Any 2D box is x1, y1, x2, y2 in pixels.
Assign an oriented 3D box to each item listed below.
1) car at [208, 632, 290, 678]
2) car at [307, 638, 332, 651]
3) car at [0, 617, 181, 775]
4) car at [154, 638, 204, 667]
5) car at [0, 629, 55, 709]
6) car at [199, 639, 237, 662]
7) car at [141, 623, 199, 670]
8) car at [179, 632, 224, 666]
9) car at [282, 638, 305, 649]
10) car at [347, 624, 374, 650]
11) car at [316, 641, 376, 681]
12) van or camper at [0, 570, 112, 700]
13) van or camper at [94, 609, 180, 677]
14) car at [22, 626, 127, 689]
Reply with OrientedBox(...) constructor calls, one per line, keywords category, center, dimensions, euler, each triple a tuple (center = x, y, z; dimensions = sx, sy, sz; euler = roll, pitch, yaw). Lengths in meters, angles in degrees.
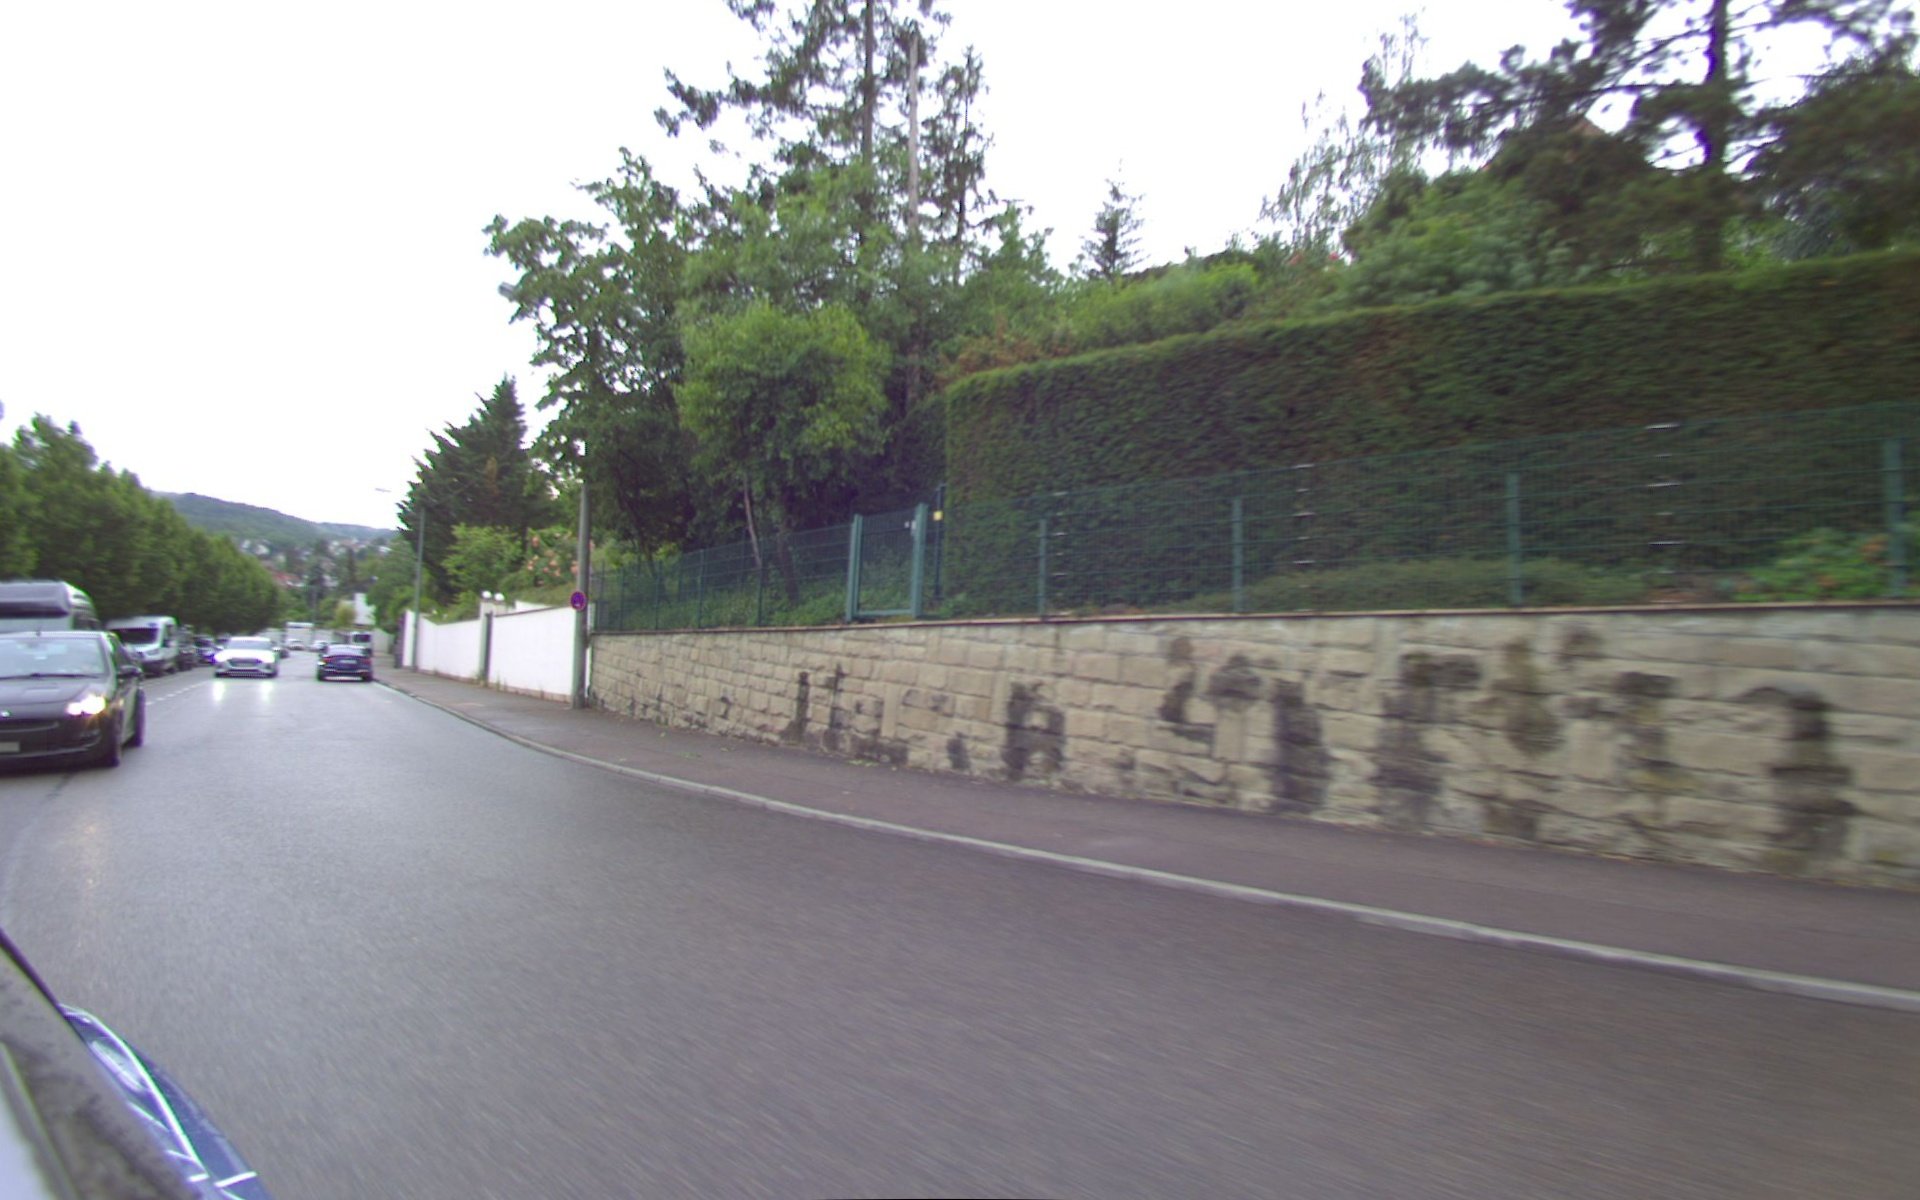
OrientedBox(category="car", center=(-28.952, 2.223, 41.346), dimensions=(2.155, 1.721, 4.897), euler=(3, -3, -29))
OrientedBox(category="car", center=(-81.523, 5.627, 128.814), dimensions=(3.769, 1.509, 1.825), euler=(-1, -4, 45))
OrientedBox(category="car", center=(-10.319, 0.982, 11.489), dimensions=(1.754, 1.497, 4.418), euler=(3, -4, -31))
OrientedBox(category="car", center=(-42.263, 2.826, 54.816), dimensions=(1.697, 1.446, 4.337), euler=(0, -2, -32))
OrientedBox(category="car", center=(-20.056, 1.380, 20.720), dimensions=(1.659, 1.552, 3.843), euler=(2, -3, -33))
OrientedBox(category="car", center=(-50.123, 3.401, 68.416), dimensions=(1.697, 1.515, 4.213), euler=(0, -2, -32))
OrientedBox(category="car", center=(-38.005, 2.226, 48.753), dimensions=(1.697, 2.155, 4.415), euler=(0, -2, -32))
OrientedBox(category="car", center=(-44.482, 2.849, 59.399), dimensions=(1.697, 1.869, 4.415), euler=(0, -2, -32))
OrientedBox(category="car", center=(-90.493, 5.888, 137.483), dimensions=(3.769, 1.509, 1.825), euler=(-2, -4, 45))
OrientedBox(category="car", center=(-61.004, 3.776, 103.033), dimensions=(2.075, 2.501, 4.578), euler=(4, -4, -28))
OrientedBox(category="car", center=(-24.327, 2.393, 40.035), dimensions=(1.783, 1.441, 4.265), euler=(4, -4, -33))
OrientedBox(category="van or camper", center=(-23.218, 0.895, 25.462), dimensions=(2.095, 2.932, 5.743), euler=(1, -3, -33))
OrientedBox(category="van or camper", center=(-33.584, 1.721, 41.446), dimensions=(2.135, 2.575, 5.631), euler=(0, -2, -33))
OrientedBox(category="car", center=(-26.919, 1.704, 30.910), dimensions=(1.697, 1.762, 4.415), euler=(0, -2, -32))
